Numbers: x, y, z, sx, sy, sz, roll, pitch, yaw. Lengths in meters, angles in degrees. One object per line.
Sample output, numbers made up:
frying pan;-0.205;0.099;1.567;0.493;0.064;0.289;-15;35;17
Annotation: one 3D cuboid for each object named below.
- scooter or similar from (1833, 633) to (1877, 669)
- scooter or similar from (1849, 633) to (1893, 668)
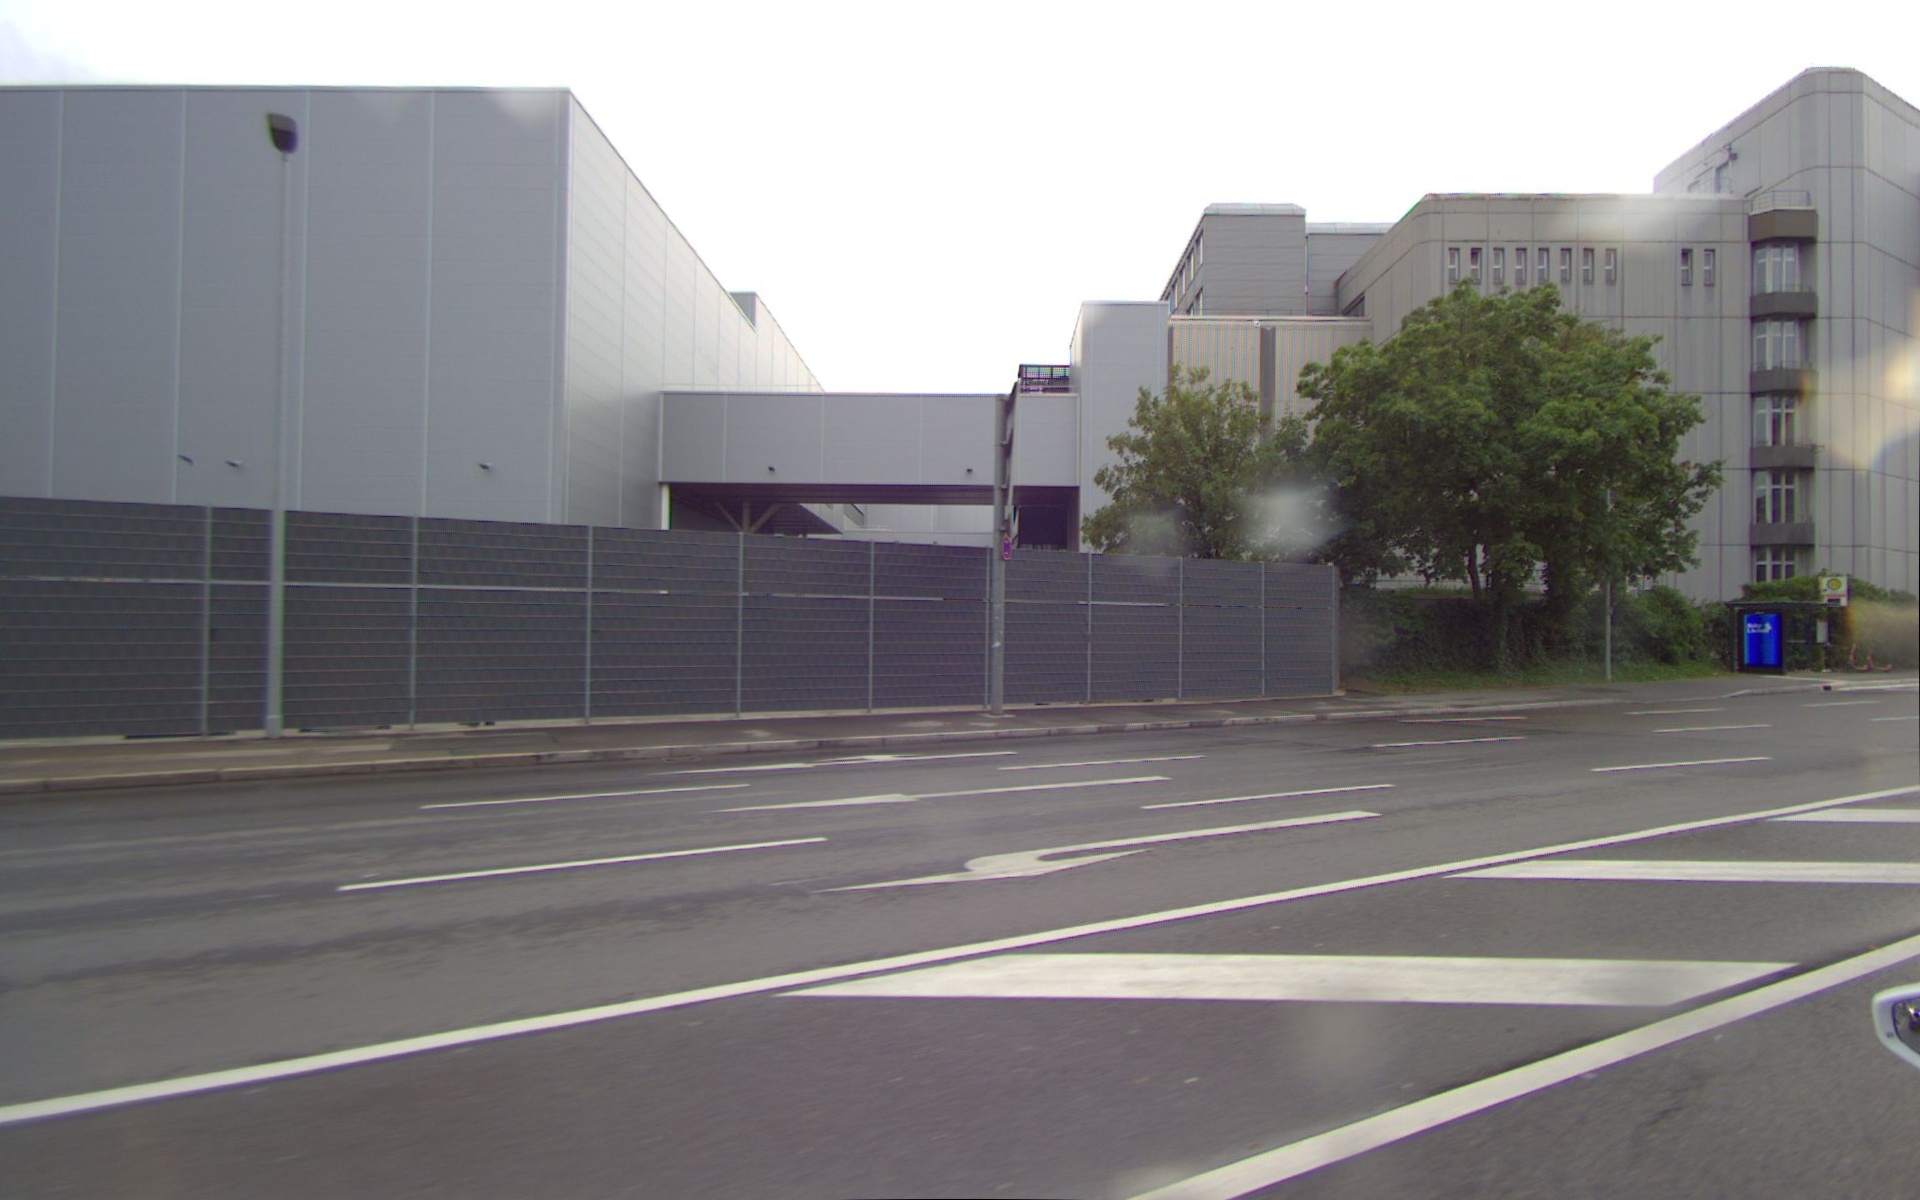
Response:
scooter or similar;32.948;1.868;36.985;1.774;1.269;0.523;1;-1;-24
scooter or similar;34.582;1.908;38.134;1.894;1.269;0.496;1;-1;-24
